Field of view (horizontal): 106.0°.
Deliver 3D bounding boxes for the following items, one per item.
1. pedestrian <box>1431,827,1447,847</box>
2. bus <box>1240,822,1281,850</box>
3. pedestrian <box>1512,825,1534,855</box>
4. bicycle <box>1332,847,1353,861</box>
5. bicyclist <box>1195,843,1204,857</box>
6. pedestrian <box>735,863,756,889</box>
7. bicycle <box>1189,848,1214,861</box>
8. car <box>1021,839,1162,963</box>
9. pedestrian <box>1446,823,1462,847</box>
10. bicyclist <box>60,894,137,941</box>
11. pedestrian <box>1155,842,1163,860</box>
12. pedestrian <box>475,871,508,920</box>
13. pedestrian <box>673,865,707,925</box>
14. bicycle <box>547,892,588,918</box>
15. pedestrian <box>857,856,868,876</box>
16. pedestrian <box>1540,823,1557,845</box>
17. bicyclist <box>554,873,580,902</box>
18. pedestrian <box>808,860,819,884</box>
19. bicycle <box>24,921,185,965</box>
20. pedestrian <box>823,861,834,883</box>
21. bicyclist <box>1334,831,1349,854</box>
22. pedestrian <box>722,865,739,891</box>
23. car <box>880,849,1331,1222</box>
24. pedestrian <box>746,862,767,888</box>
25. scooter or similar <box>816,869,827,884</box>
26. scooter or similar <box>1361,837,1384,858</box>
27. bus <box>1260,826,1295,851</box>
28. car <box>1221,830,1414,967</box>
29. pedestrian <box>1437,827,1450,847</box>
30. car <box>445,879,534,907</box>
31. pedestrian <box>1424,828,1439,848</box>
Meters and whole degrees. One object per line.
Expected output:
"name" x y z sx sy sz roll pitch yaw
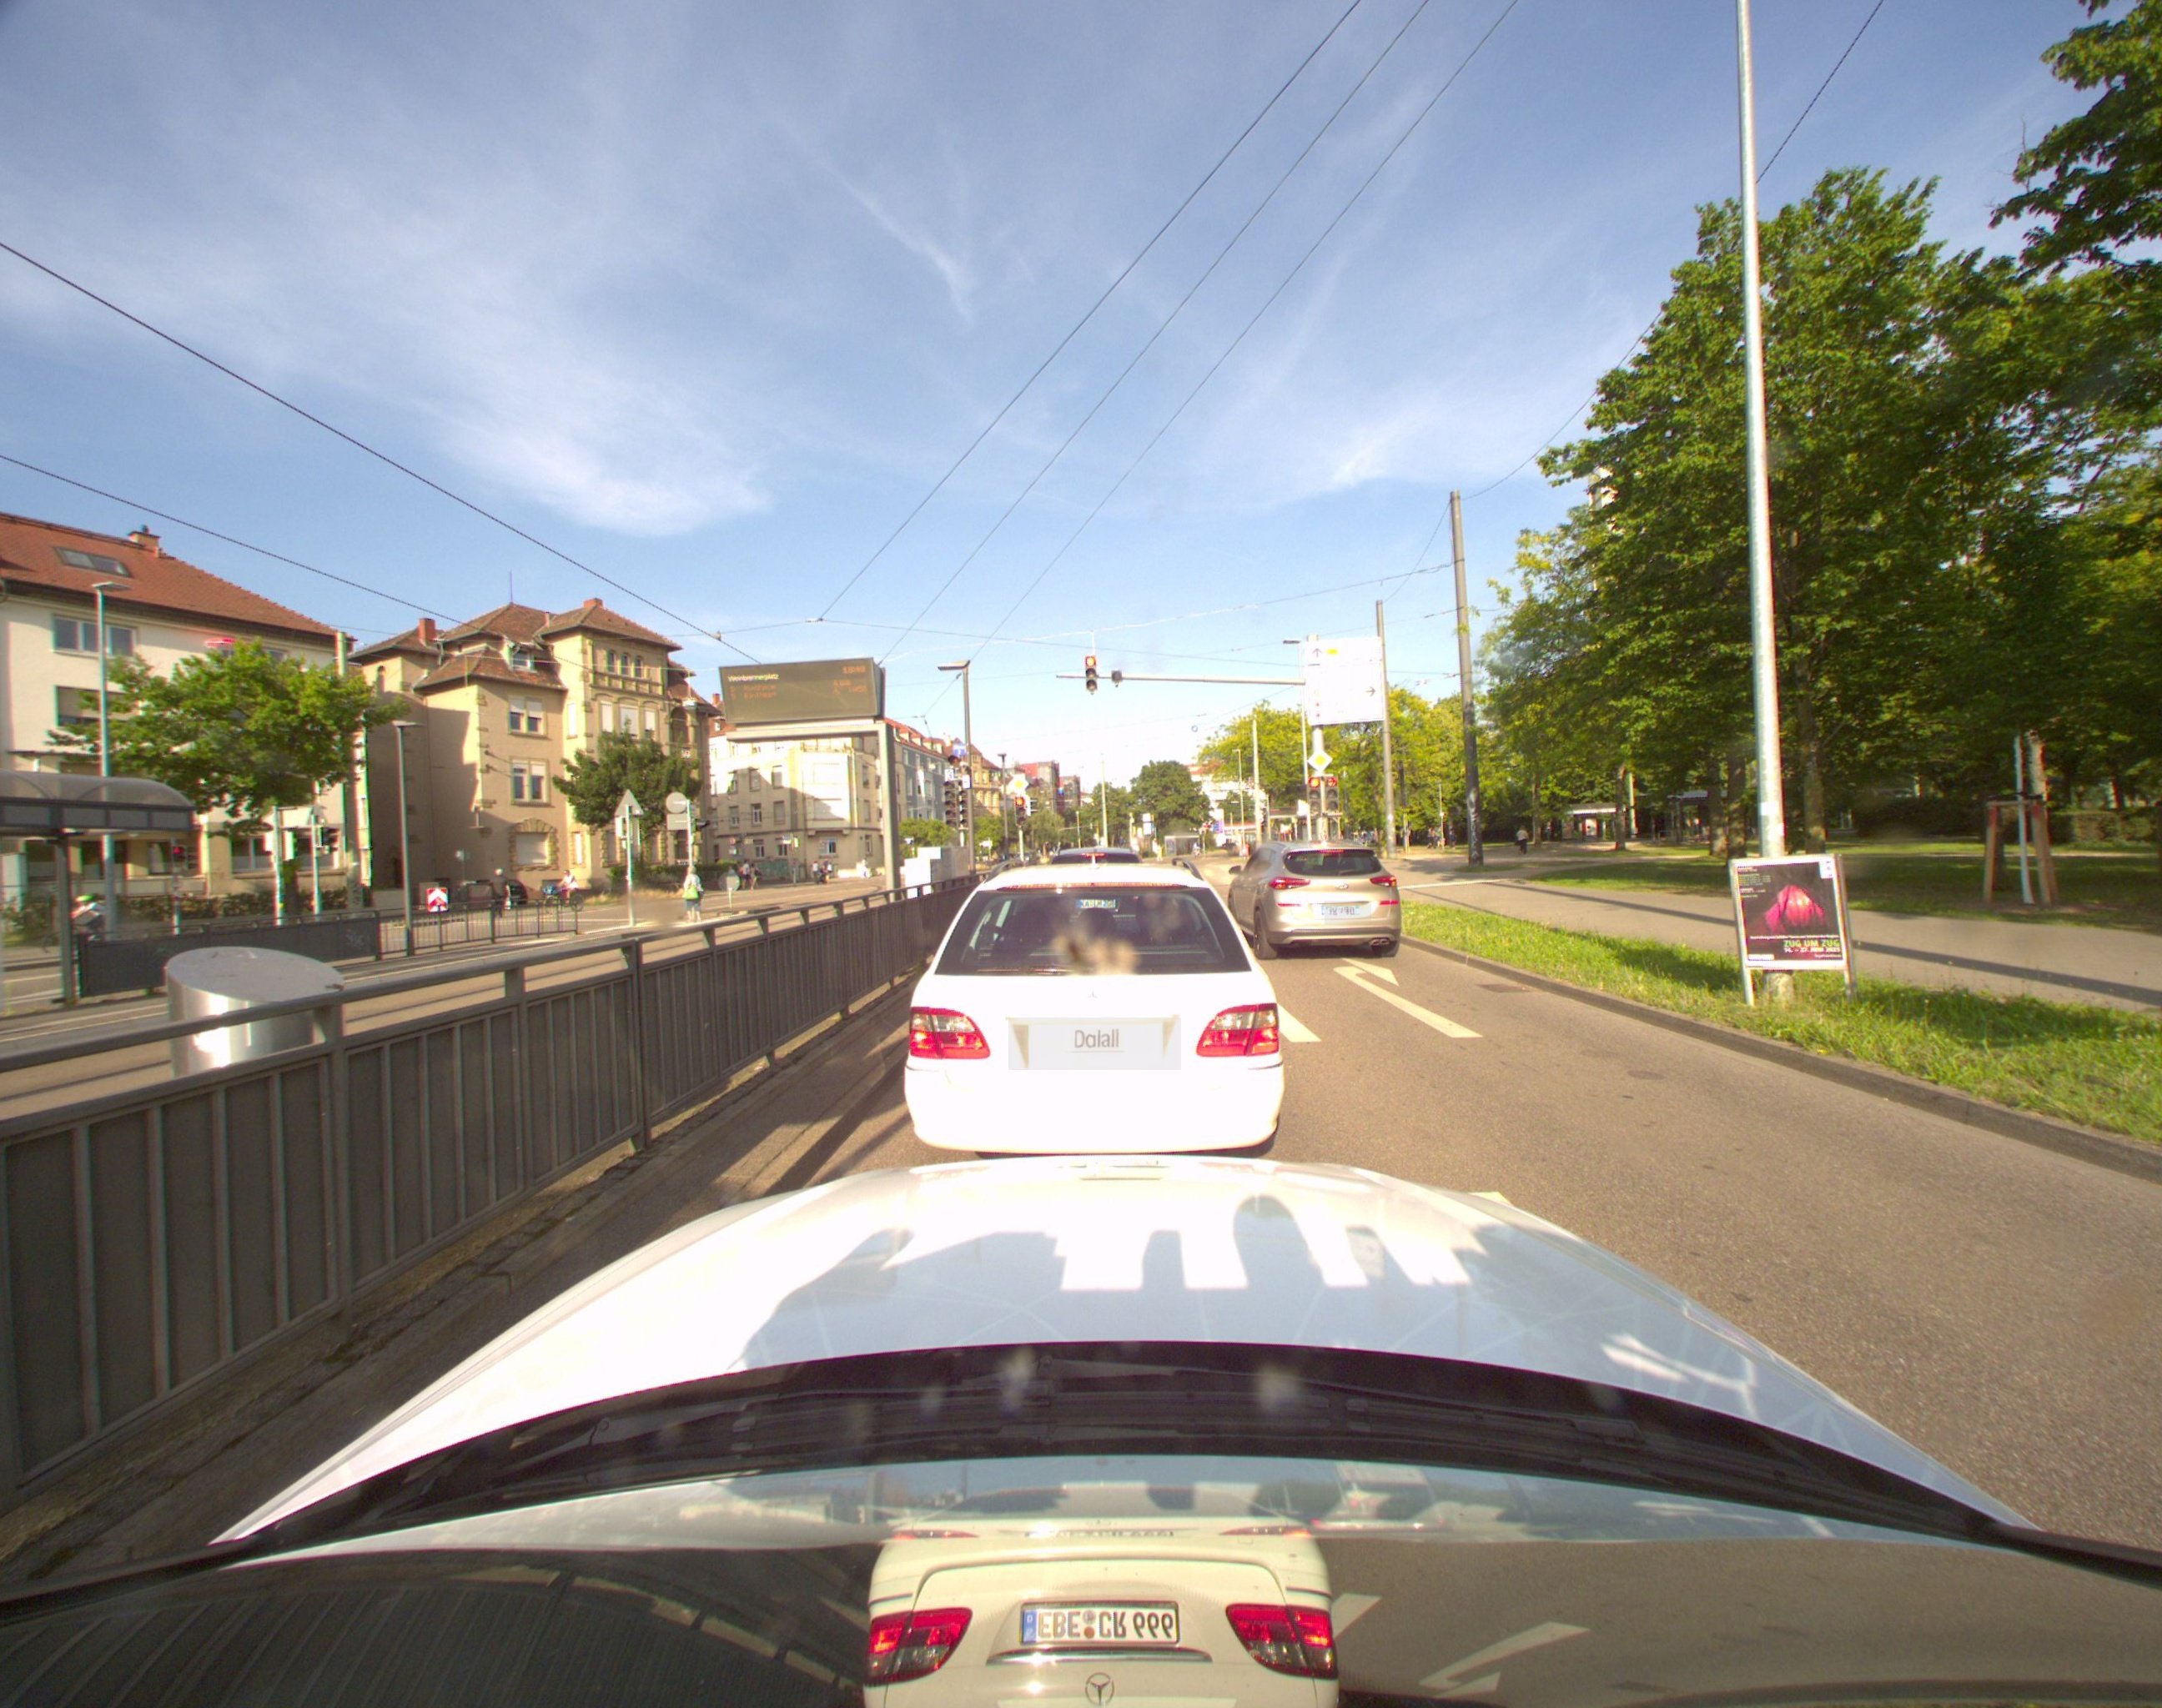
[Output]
"pedestrian" 28.096 -1.317 63.894 0.813 1.487 0.698 -3 0 -9
"bus" 25.509 -2.399 114.935 3.080 3.606 12.444 -1 -1 24
"pedestrian" 24.883 -0.813 45.823 0.758 1.636 0.800 -3 0 -38
"bicycle" 15.194 -0.009 47.361 0.493 0.757 2.169 -4 0 2
"bicyclist" 12.506 -0.433 85.717 0.855 1.482 0.792 -3 0 11
"pedestrian" -20.787 1.376 50.487 0.822 1.552 0.786 -3 0 23
"bicycle" 12.671 0.042 85.686 2.467 1.213 0.809 -3 0 9
"car" 0.200 0.622 12.713 1.878 1.651 3.649 0 0 2
"pedestrian" 29.111 -1.471 63.515 0.797 1.785 0.838 -3 0 -2
"bicyclist" -28.823 1.854 23.902 0.758 1.262 1.178 -3 0 10
"pedestrian" 8.198 -0.306 85.394 0.638 1.857 0.554 -3 0 13
"pedestrian" -20.733 1.441 28.644 0.798 1.645 0.748 -3 0 -42
"pedestrian" -10.837 1.115 22.584 0.611 1.599 0.632 -3 0 -5
"bicycle" -19.314 1.905 30.680 0.525 0.834 1.684 -3 0 -4
"pedestrian" -18.861 1.041 70.367 0.615 1.660 0.589 -3 0 17
"pedestrian" 36.622 -1.568 63.796 0.831 1.636 0.804 -3 0 8
"bicyclist" -19.335 1.243 30.662 0.512 1.044 0.678 -3 0 -4
"pedestrian" -18.673 1.229 56.866 0.506 1.626 0.609 -3 0 3
"bicycle" -28.745 2.603 24.088 0.779 0.914 3.006 -3 0 10
"pedestrian" -17.681 1.287 57.103 0.434 1.500 0.551 -3 0 16
"bicyclist" 15.144 -0.671 47.341 0.532 1.262 0.869 -3 0 2
"pedestrian" -21.689 1.494 50.422 0.626 1.541 0.711 -3 0 1
"car" 0.144 0.725 5.106 1.789 1.470 3.649 -1 0 1
"pedestrian" -19.994 1.274 50.210 0.822 1.552 0.786 -3 0 23
"scooter or similar" -18.357 1.595 57.678 0.541 1.079 0.683 -1 -1 1
"scooter or similar" 16.206 -0.353 45.286 0.421 1.117 1.322 -3 0 -18
"bus" 30.651 -2.328 126.454 3.081 3.606 12.660 -1 -1 23
"car" 3.326 0.566 12.213 1.878 1.651 3.649 -3 0 2
"pedestrian" 27.761 -1.297 62.389 0.805 1.487 0.705 -3 0 26
"car" -29.462 1.905 40.577 4.066 1.310 1.774 -1 -1 24
"pedestrian" 27.248 -1.235 63.306 0.820 1.487 0.692 -3 0 -40
